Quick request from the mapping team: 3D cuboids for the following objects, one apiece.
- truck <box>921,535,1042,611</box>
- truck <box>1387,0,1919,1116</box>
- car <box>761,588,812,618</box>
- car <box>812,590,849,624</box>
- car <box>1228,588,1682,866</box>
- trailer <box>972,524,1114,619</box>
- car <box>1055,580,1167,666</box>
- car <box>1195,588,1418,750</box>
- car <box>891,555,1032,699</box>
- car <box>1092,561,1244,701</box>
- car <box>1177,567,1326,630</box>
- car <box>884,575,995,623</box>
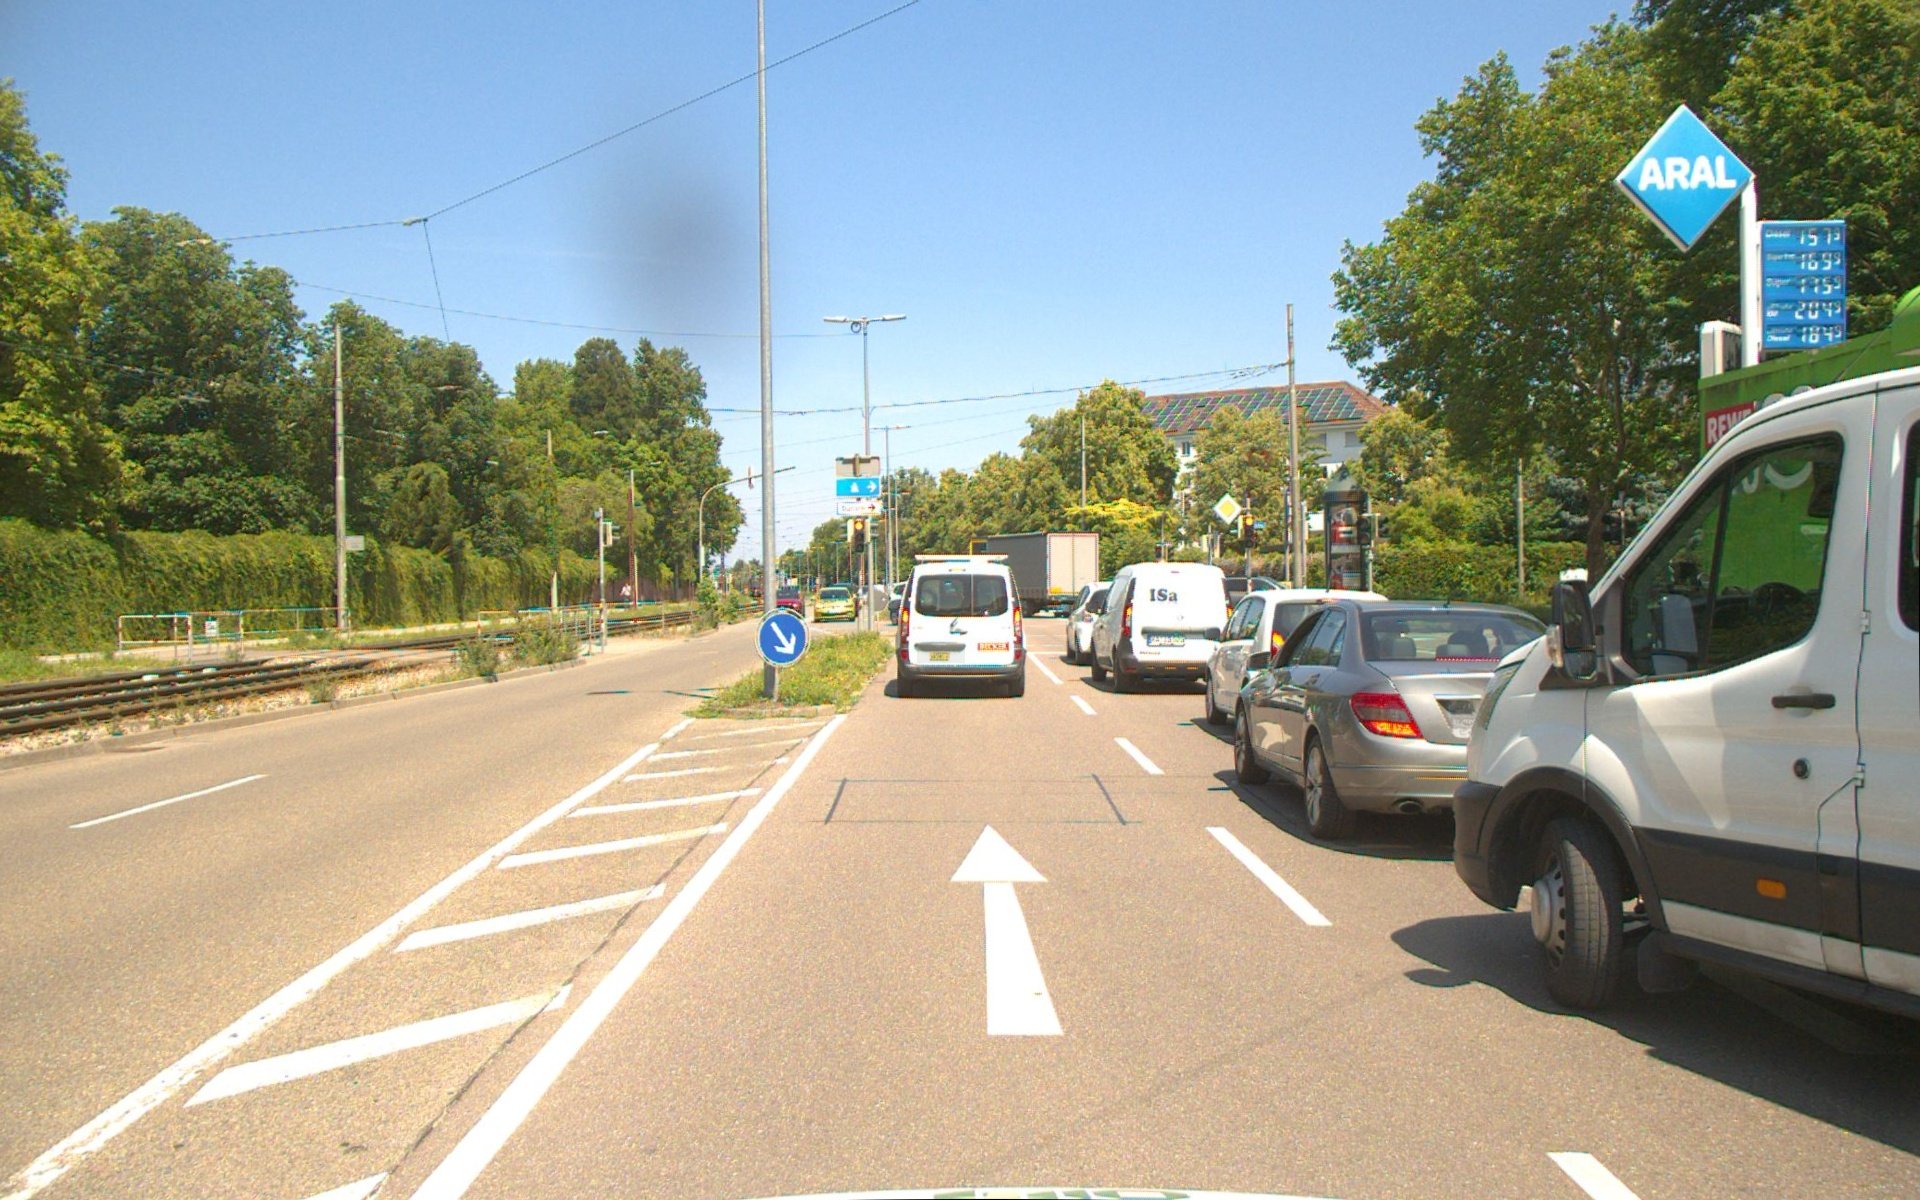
[{"bbox_3d":[0.961,-1.341,84.872,3.521,3.696,8.762,-1,0,-18],"label":"truck"},{"bbox_3d":[4.243,-0.317,3.625,2.384,3.450,7.786,-1,0,-20],"label":"truck"},{"bbox_3d":[-8.445,0.115,80.839,1.943,1.382,4.538,-1,0,0],"label":"car"},{"bbox_3d":[-5.600,0.271,71.168,1.509,1.403,3.998,-1,0,-5],"label":"car"},{"bbox_3d":[3.047,0.674,11.193,1.759,1.475,4.418,-1,0,0],"label":"car"},{"bbox_3d":[3.678,-1.285,76.377,3.474,4.121,8.928,-1,0,-19],"label":"trailer"},{"bbox_3d":[2.861,0.399,32.026,1.720,1.512,3.999,-1,1,-1],"label":"car"},{"bbox_3d":[3.476,0.632,17.172,1.574,1.477,3.521,1,0,0],"label":"car"},{"bbox_3d":[-0.020,0.326,23.397,1.829,1.868,3.848,0,1,-1],"label":"car"},{"bbox_3d":[2.961,0.395,24.263,1.675,1.862,4.013,1,0,0],"label":"car"},{"bbox_3d":[9.136,-0.045,51.789,4.428,1.861,2.002,-1,0,15],"label":"car"},{"bbox_3d":[-0.795,-0.044,60.293,1.977,1.645,4.401,-1,1,-34],"label":"car"}]
